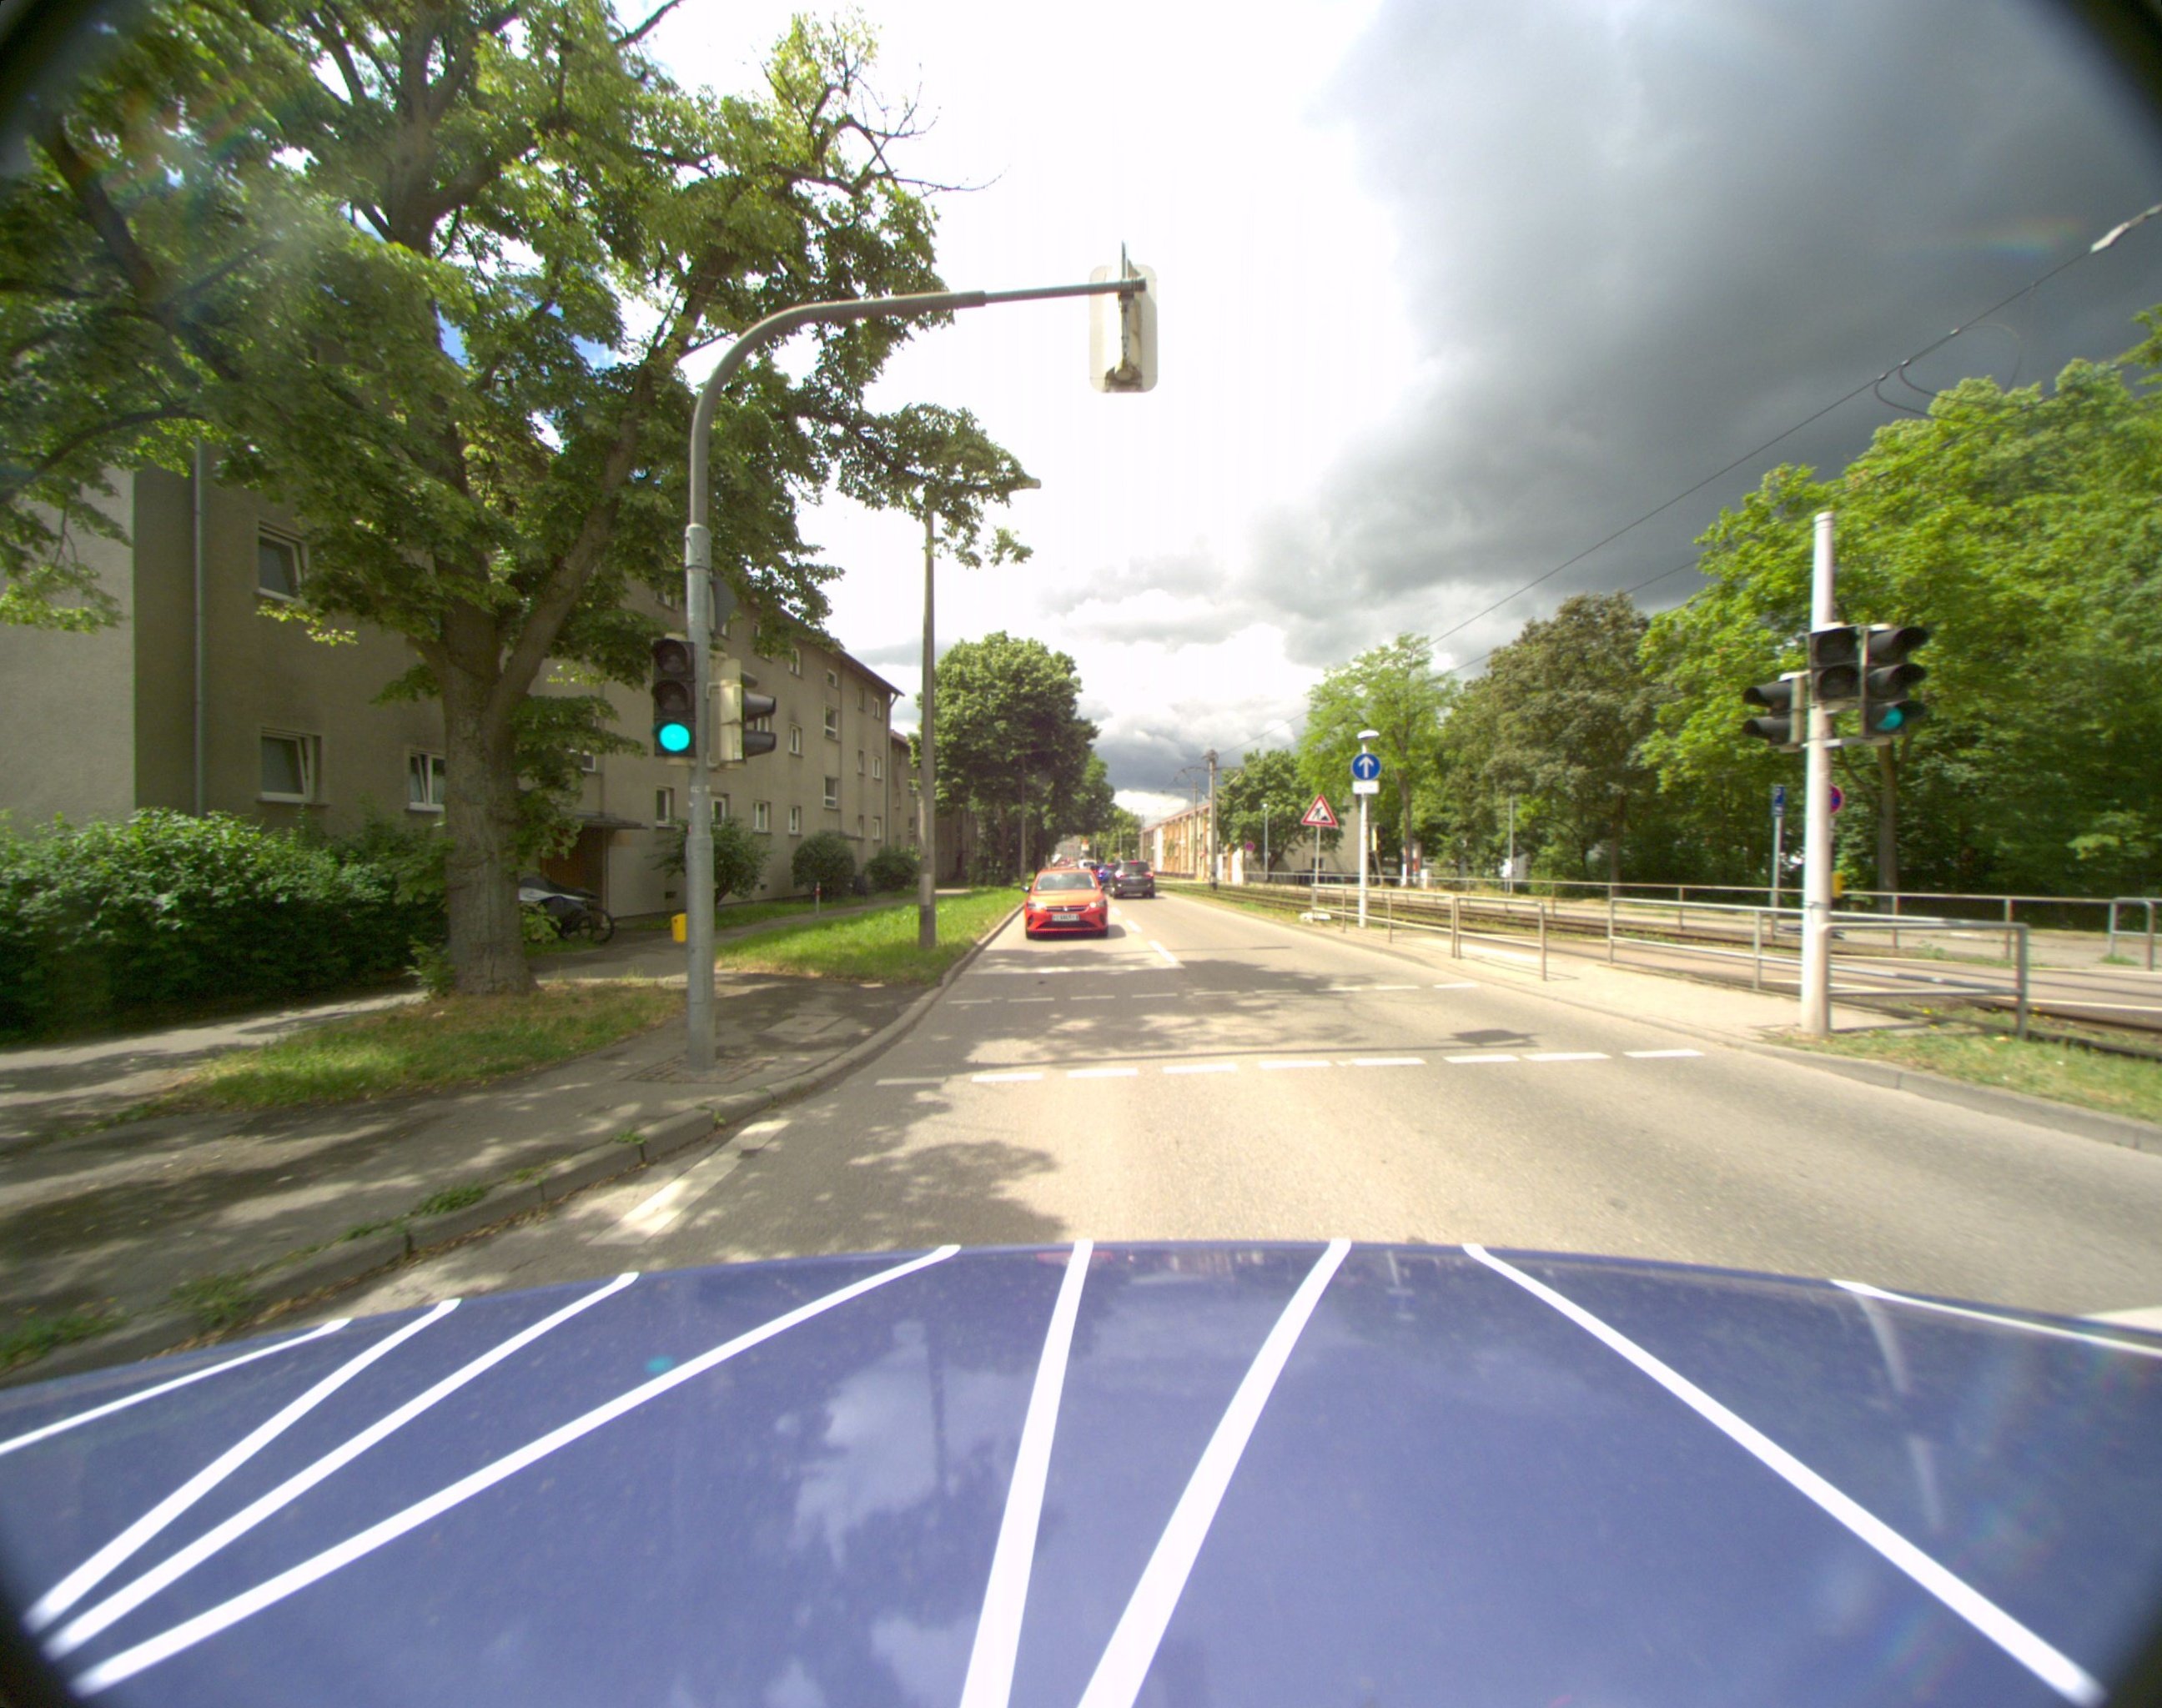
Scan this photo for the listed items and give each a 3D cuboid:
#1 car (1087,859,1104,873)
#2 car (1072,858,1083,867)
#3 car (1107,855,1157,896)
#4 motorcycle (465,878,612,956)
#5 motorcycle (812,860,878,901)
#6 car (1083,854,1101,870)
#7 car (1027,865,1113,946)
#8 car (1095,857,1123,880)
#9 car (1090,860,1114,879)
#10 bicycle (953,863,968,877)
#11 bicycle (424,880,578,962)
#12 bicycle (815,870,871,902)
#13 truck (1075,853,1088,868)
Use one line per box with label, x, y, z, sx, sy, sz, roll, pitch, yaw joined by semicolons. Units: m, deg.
car;1.566;1.265;82.263;1.585;1.477;3.806;-2;0;-2
car;-0.635;1.431;135.021;1.666;1.512;3.785;-2;0;-1
car;2.209;0.899;33.846;1.712;1.666;4.227;-2;0;-3
motorcycle;-9.512;1.088;13.354;2.208;1.275;0.681;0;1;7
motorcycle;-8.507;0.941;27.431;2.000;1.421;1.018;0;0;9
car;1.313;1.013;95.936;1.999;1.984;4.785;-1;0;-2
car;-0.270;1.039;16.892;1.666;1.512;3.785;-1;0;-1
car;2.021;1.038;55.056;1.717;1.557;4.166;-2;0;-2
car;1.750;1.283;64.184;1.721;1.535;4.000;-2;-1;-2
bicycle;-9.911;1.316;62.516;0.437;1.074;1.749;-2;1;-36
bicycle;-9.635;1.086;12.648;2.171;1.275;0.681;0;1;7
bicycle;-8.291;1.120;26.458;1.802;1.078;0.455;0;0;4
truck;0.081;1.271;145.175;2.097;2.723;5.095;-2;1;-4
